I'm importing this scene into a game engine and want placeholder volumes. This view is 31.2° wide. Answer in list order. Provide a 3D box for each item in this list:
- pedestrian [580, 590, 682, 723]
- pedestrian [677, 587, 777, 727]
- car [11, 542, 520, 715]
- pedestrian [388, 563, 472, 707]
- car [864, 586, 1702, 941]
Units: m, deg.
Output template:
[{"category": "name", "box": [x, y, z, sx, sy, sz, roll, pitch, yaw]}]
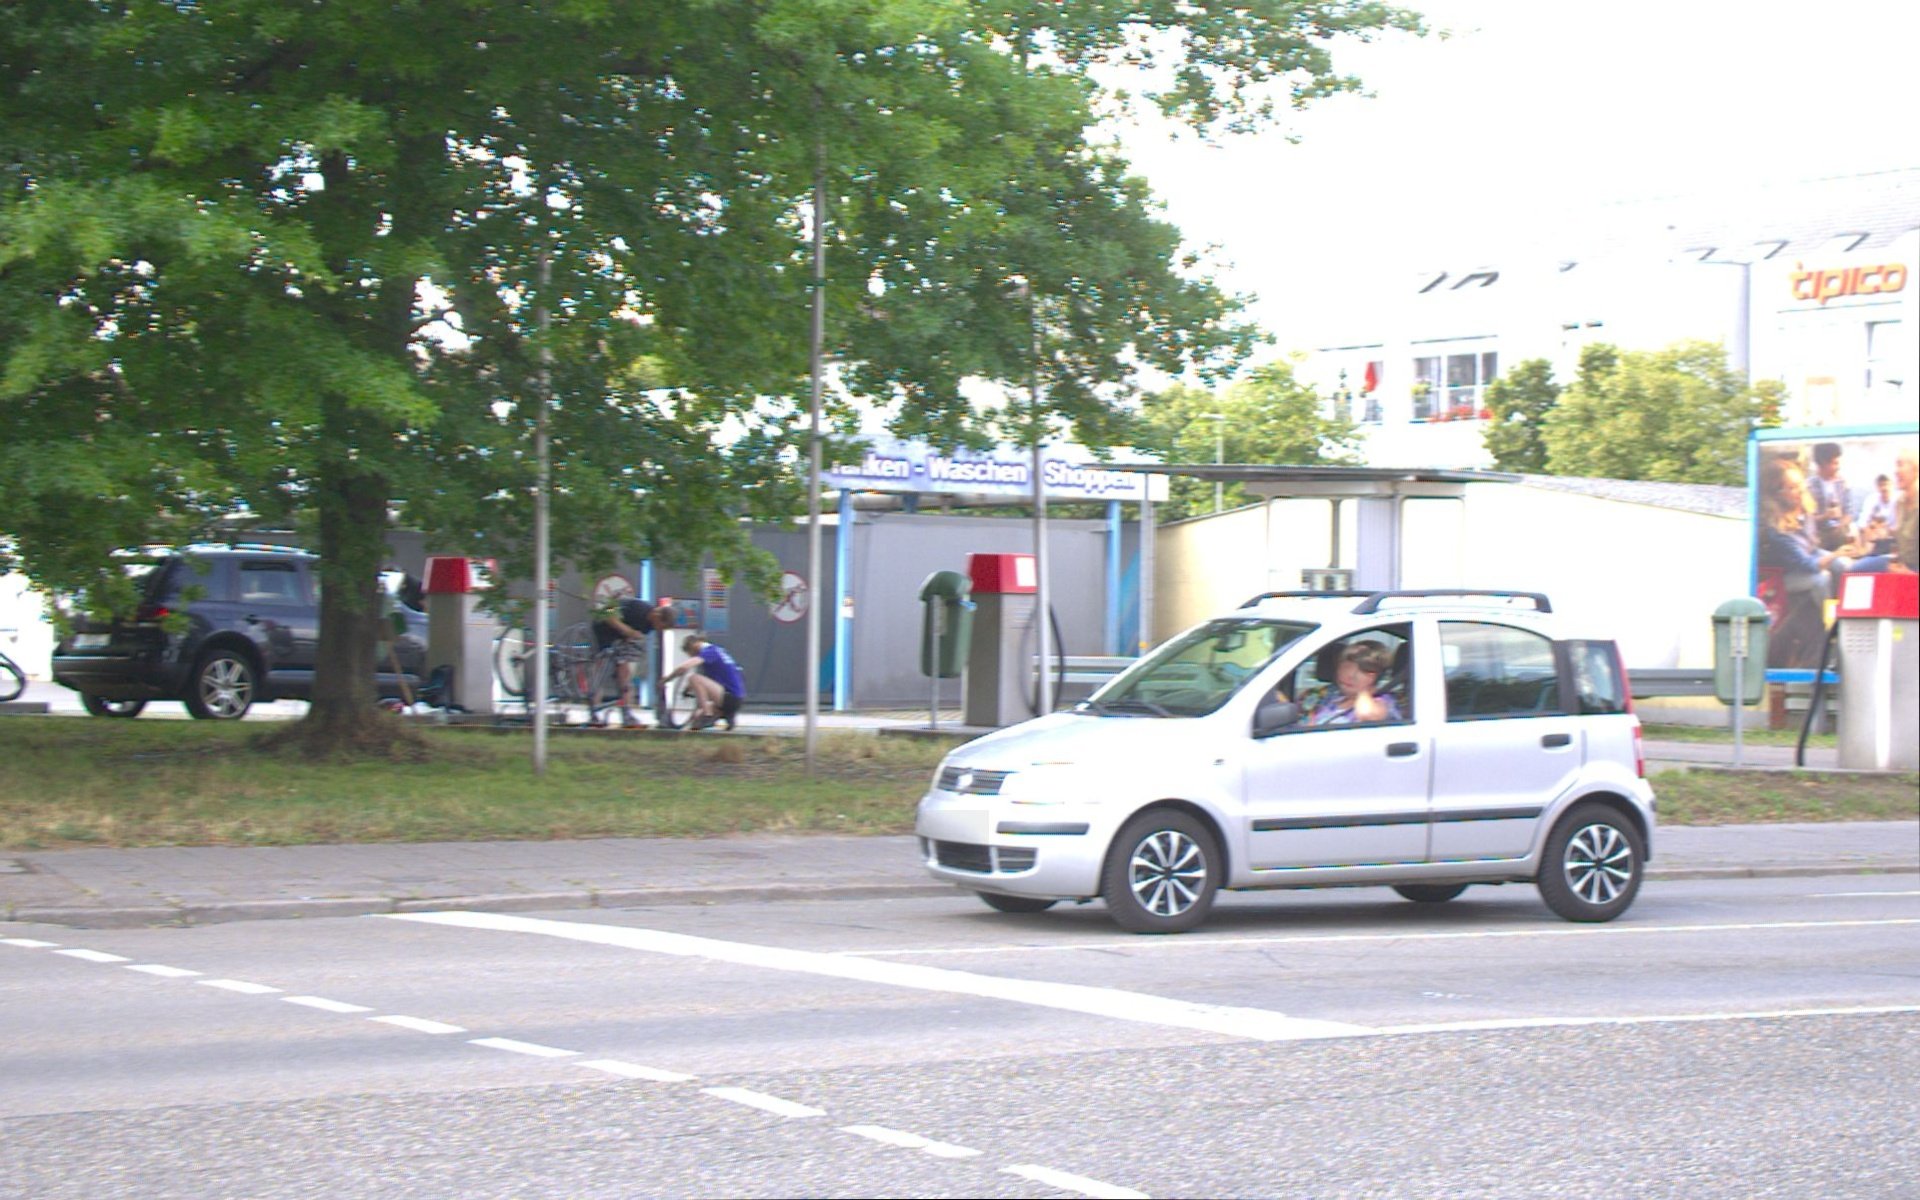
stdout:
[{"category": "pedestrian", "box": [-3.029, 0.523, 31.687, 0.764, 1.186, 0.645, 2, -2, 8]}, {"category": "pedestrian", "box": [-2.137, 0.526, 31.602, 0.764, 1.251, 0.645, 2, -2, 8]}, {"category": "car", "box": [-6.800, 0.272, 34.022, 2.152, 1.590, 4.553, 0, 0, 41]}, {"category": "pedestrian", "box": [-5.600, 0.368, 36.313, 0.619, 1.490, 0.561, 0, -3, 45]}, {"category": "car", "box": [1.524, 0.725, 16.113, 3.596, 1.512, 1.559, 1, 0, -25]}]
